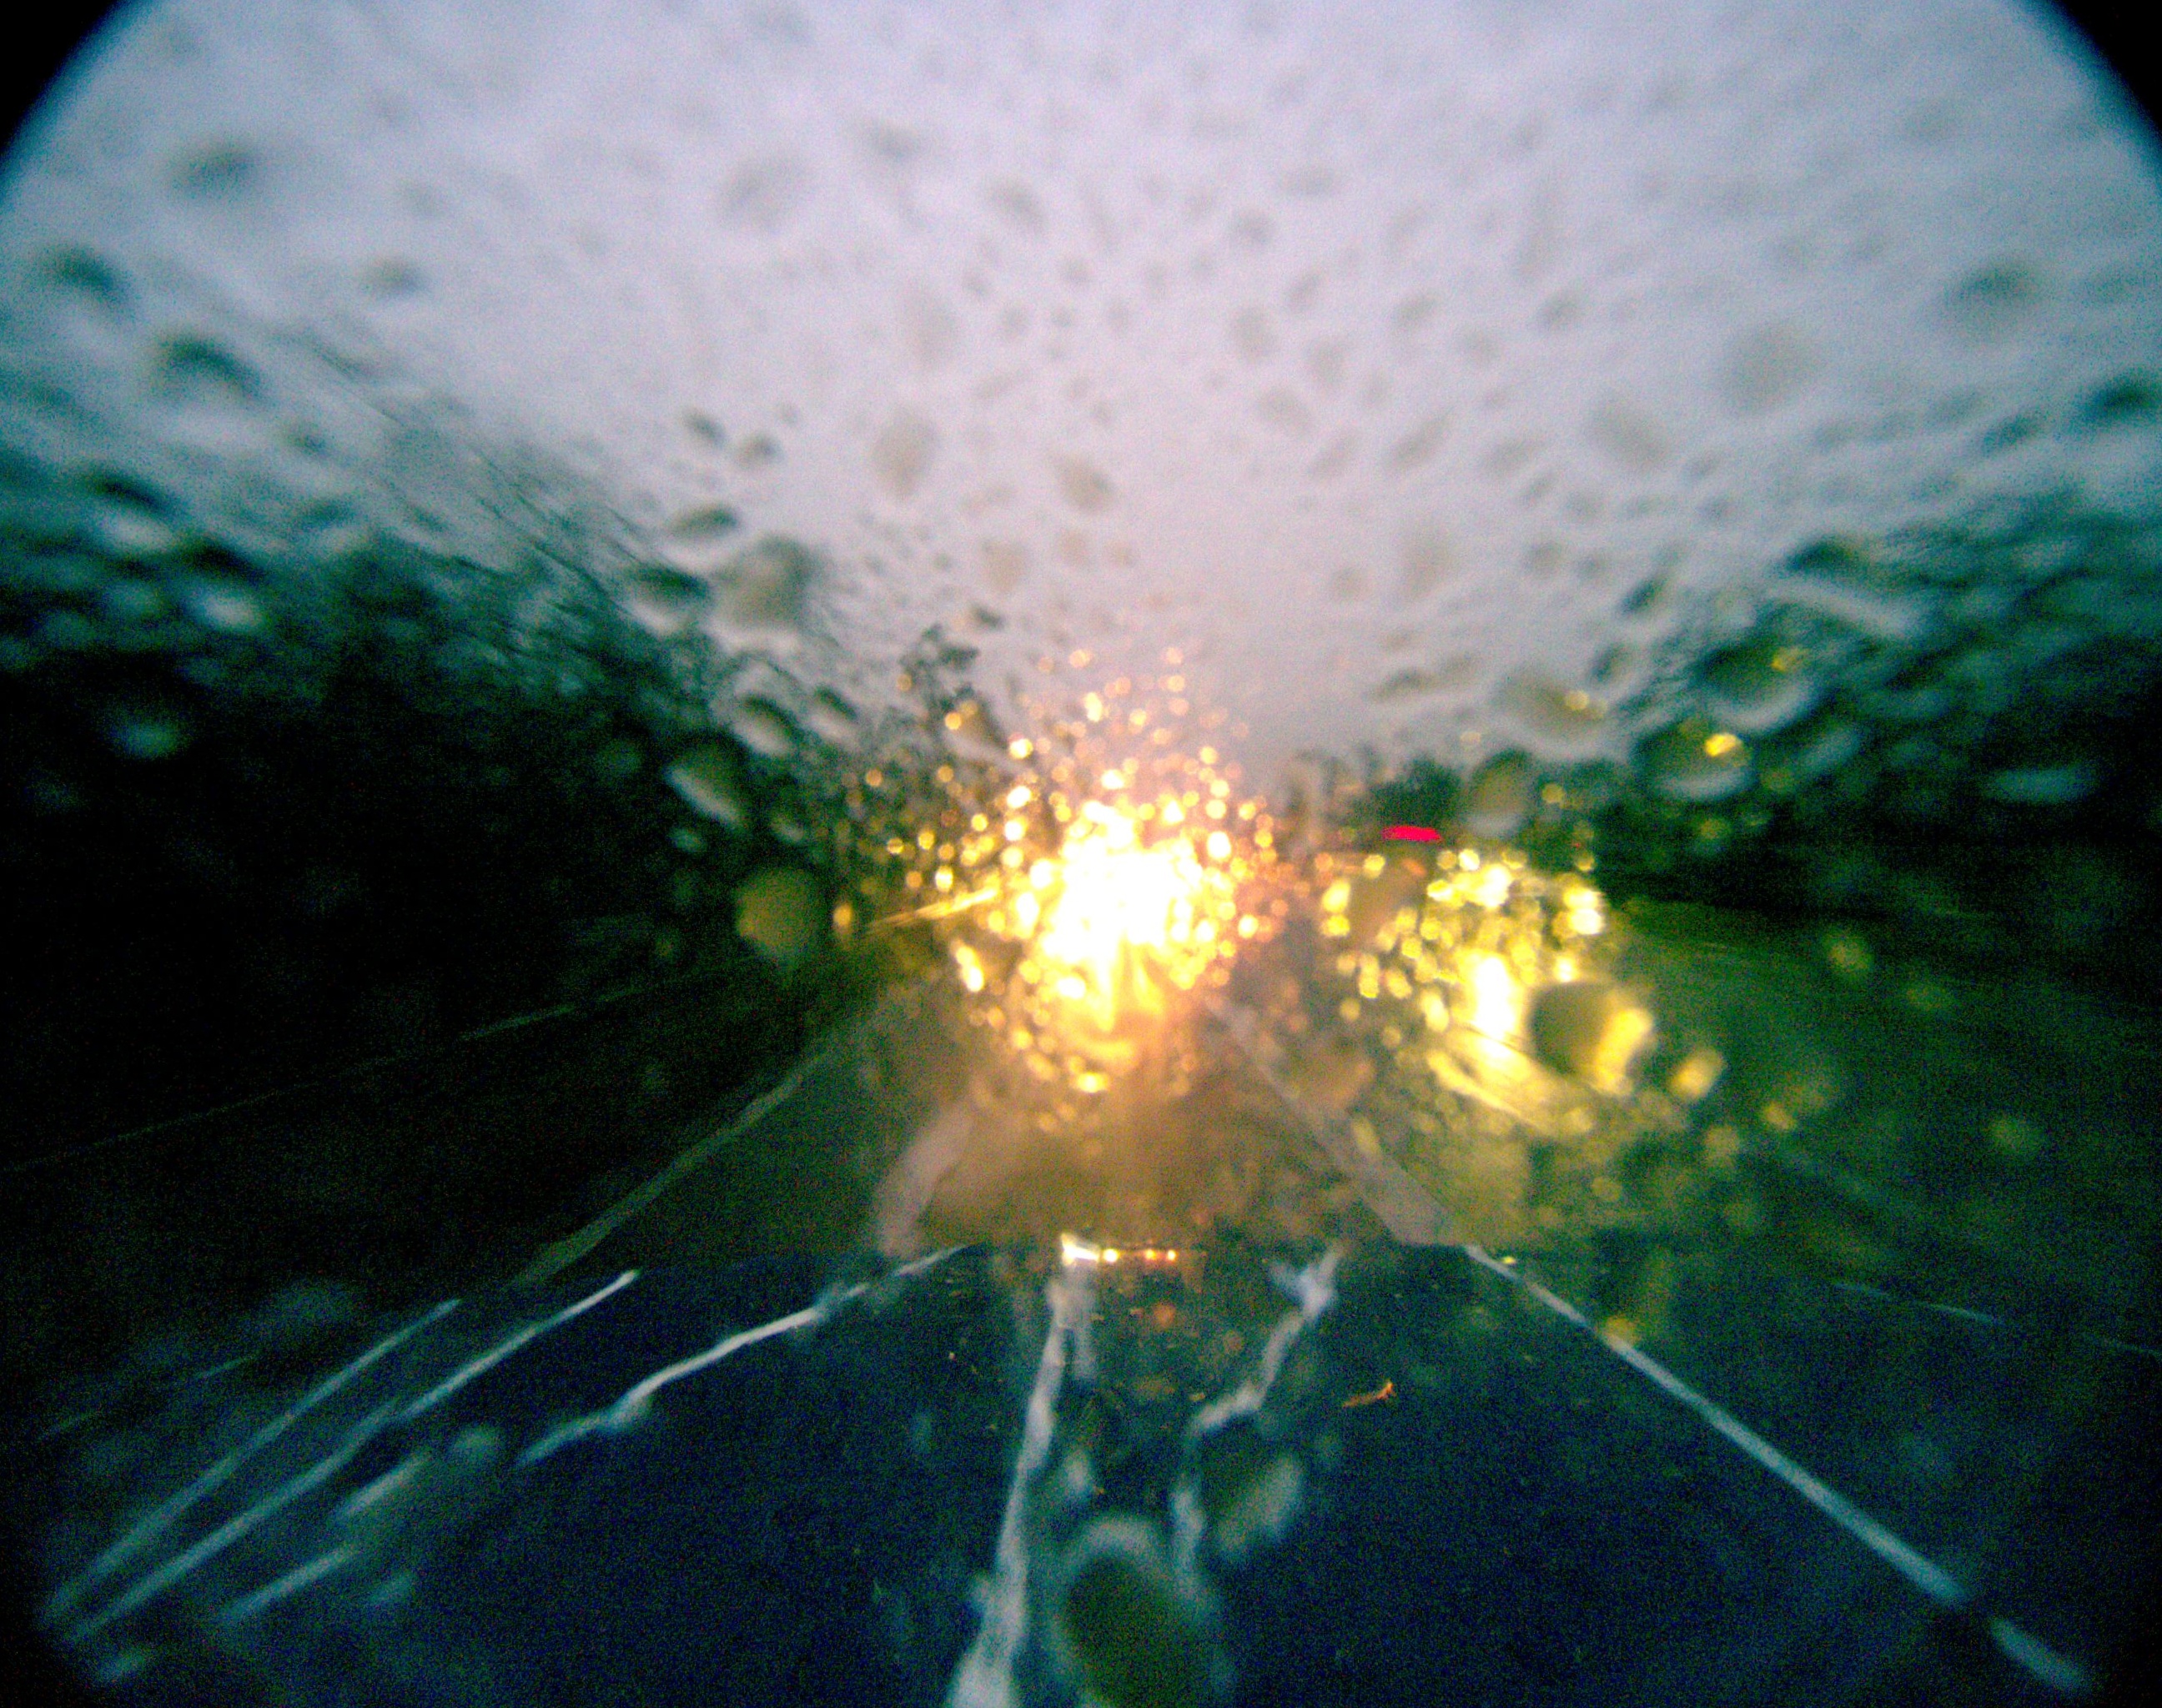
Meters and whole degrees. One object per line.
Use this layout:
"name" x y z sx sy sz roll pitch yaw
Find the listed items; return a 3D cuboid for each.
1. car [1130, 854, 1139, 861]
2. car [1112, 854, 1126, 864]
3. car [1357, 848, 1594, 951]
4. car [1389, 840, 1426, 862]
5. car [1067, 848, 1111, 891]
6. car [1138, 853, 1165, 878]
"car" 9.466 0.626 133.612 1.482 1.198 3.350 -4 0 4
"car" 4.825 0.613 95.422 1.482 1.198 3.350 -4 0 6
"car" 6.775 0.697 13.691 1.803 1.459 4.413 -3 0 -2
"car" 24.261 -0.268 56.565 1.746 1.478 4.003 -3 0 13
"car" 0.450 0.752 38.376 1.998 2.002 3.964 -2 0 3
"car" 4.843 0.835 52.465 1.654 1.502 3.877 4 -2 4
